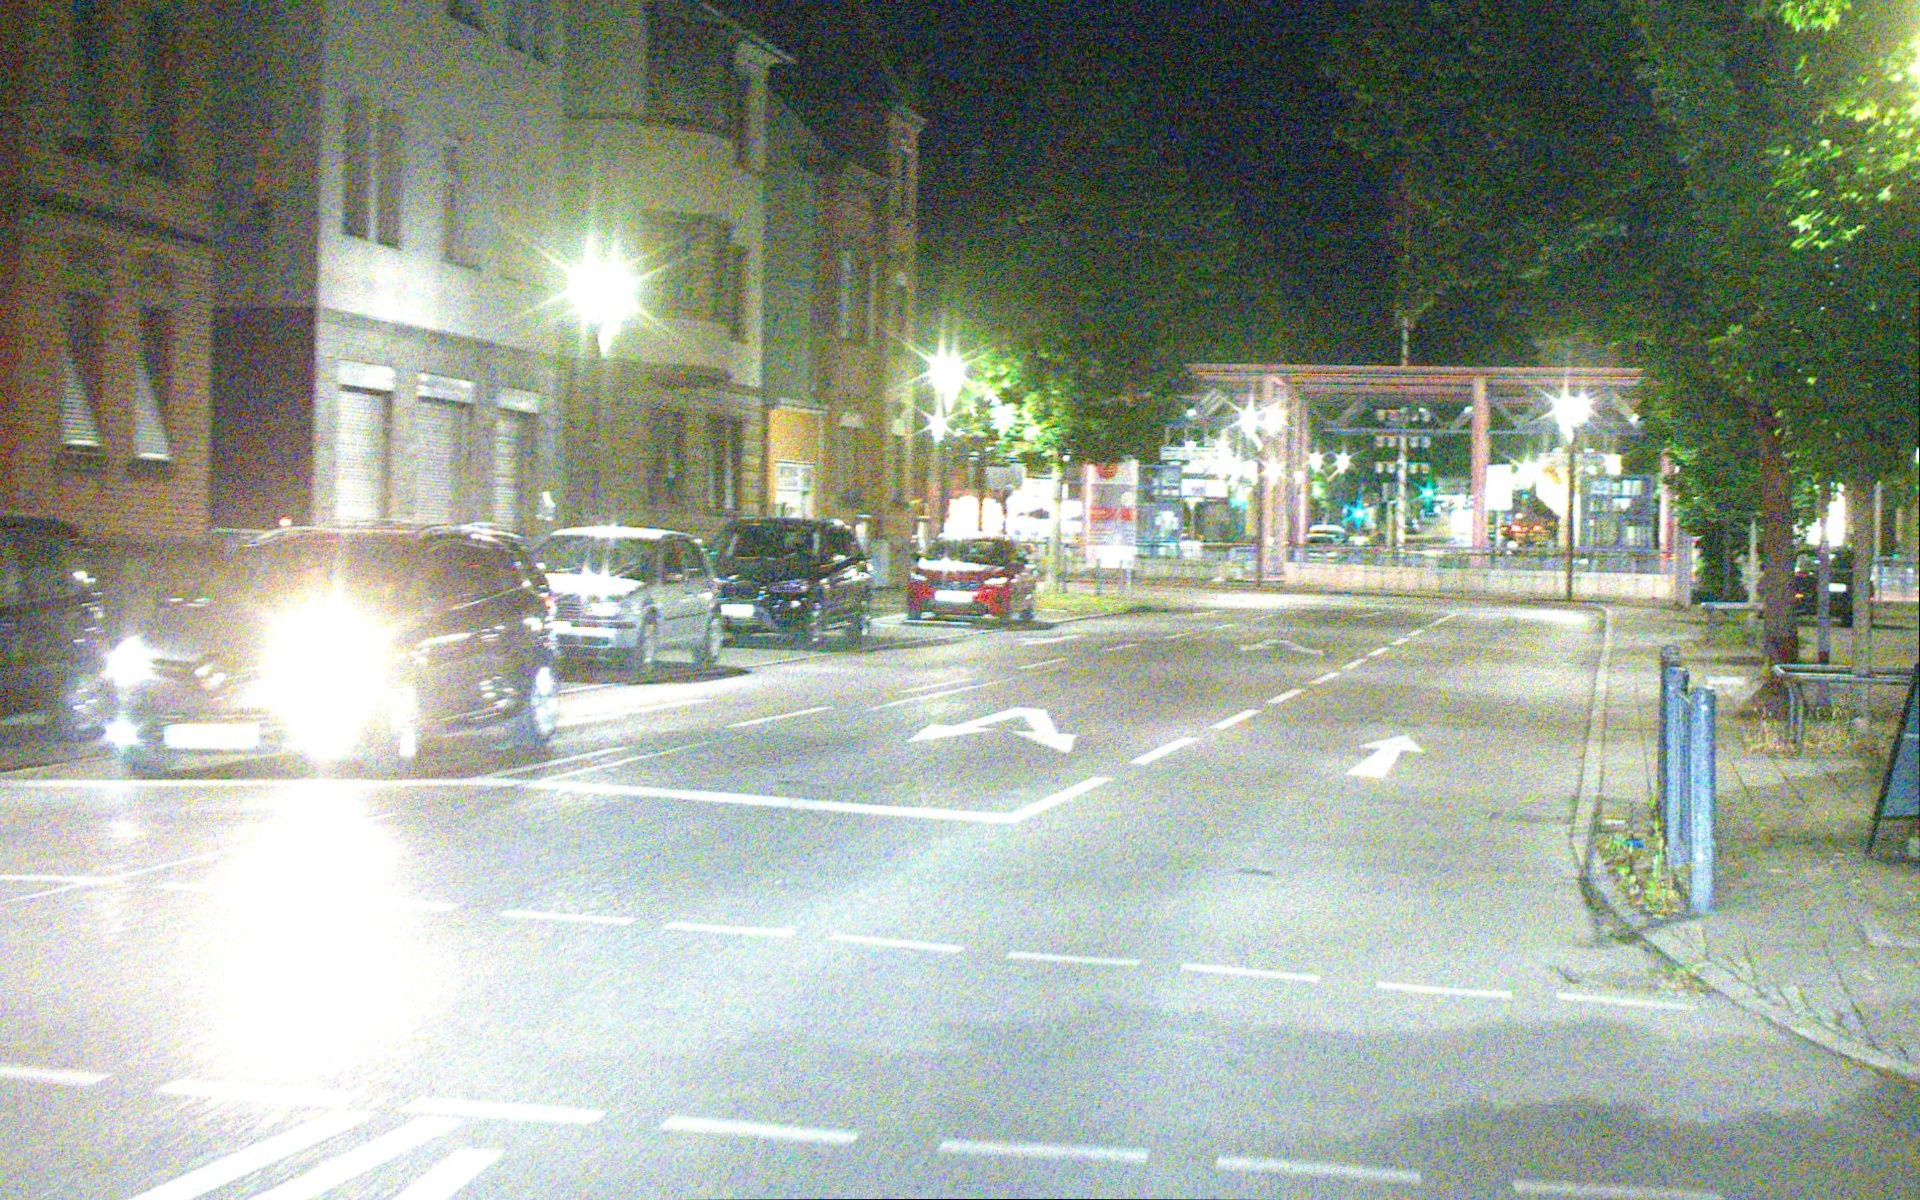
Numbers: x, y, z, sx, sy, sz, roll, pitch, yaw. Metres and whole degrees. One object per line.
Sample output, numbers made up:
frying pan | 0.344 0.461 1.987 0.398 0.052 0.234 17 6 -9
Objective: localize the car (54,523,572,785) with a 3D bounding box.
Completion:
car | -3.823 0.262 21.036 1.716 1.424 3.998 -1 1 11

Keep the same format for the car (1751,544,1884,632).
car | 15.411 -0.245 62.001 1.734 1.454 4.726 1 1 7

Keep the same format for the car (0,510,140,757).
car | -6.801 0.202 21.576 1.593 1.486 3.697 3 3 15

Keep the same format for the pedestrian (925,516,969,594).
pedestrian | -0.312 -1.075 81.906 0.723 1.815 0.692 2 0 -35

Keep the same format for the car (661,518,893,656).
car | -2.276 -0.211 43.870 1.785 1.576 4.409 3 2 12

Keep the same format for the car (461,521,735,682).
car | -3.708 -0.036 35.867 1.785 1.486 3.999 3 2 9

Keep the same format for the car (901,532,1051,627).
car | 0.298 -0.372 56.235 1.785 1.411 4.125 2 2 9

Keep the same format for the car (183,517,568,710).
car | -5.057 0.057 30.376 1.785 1.486 4.327 3 2 13
